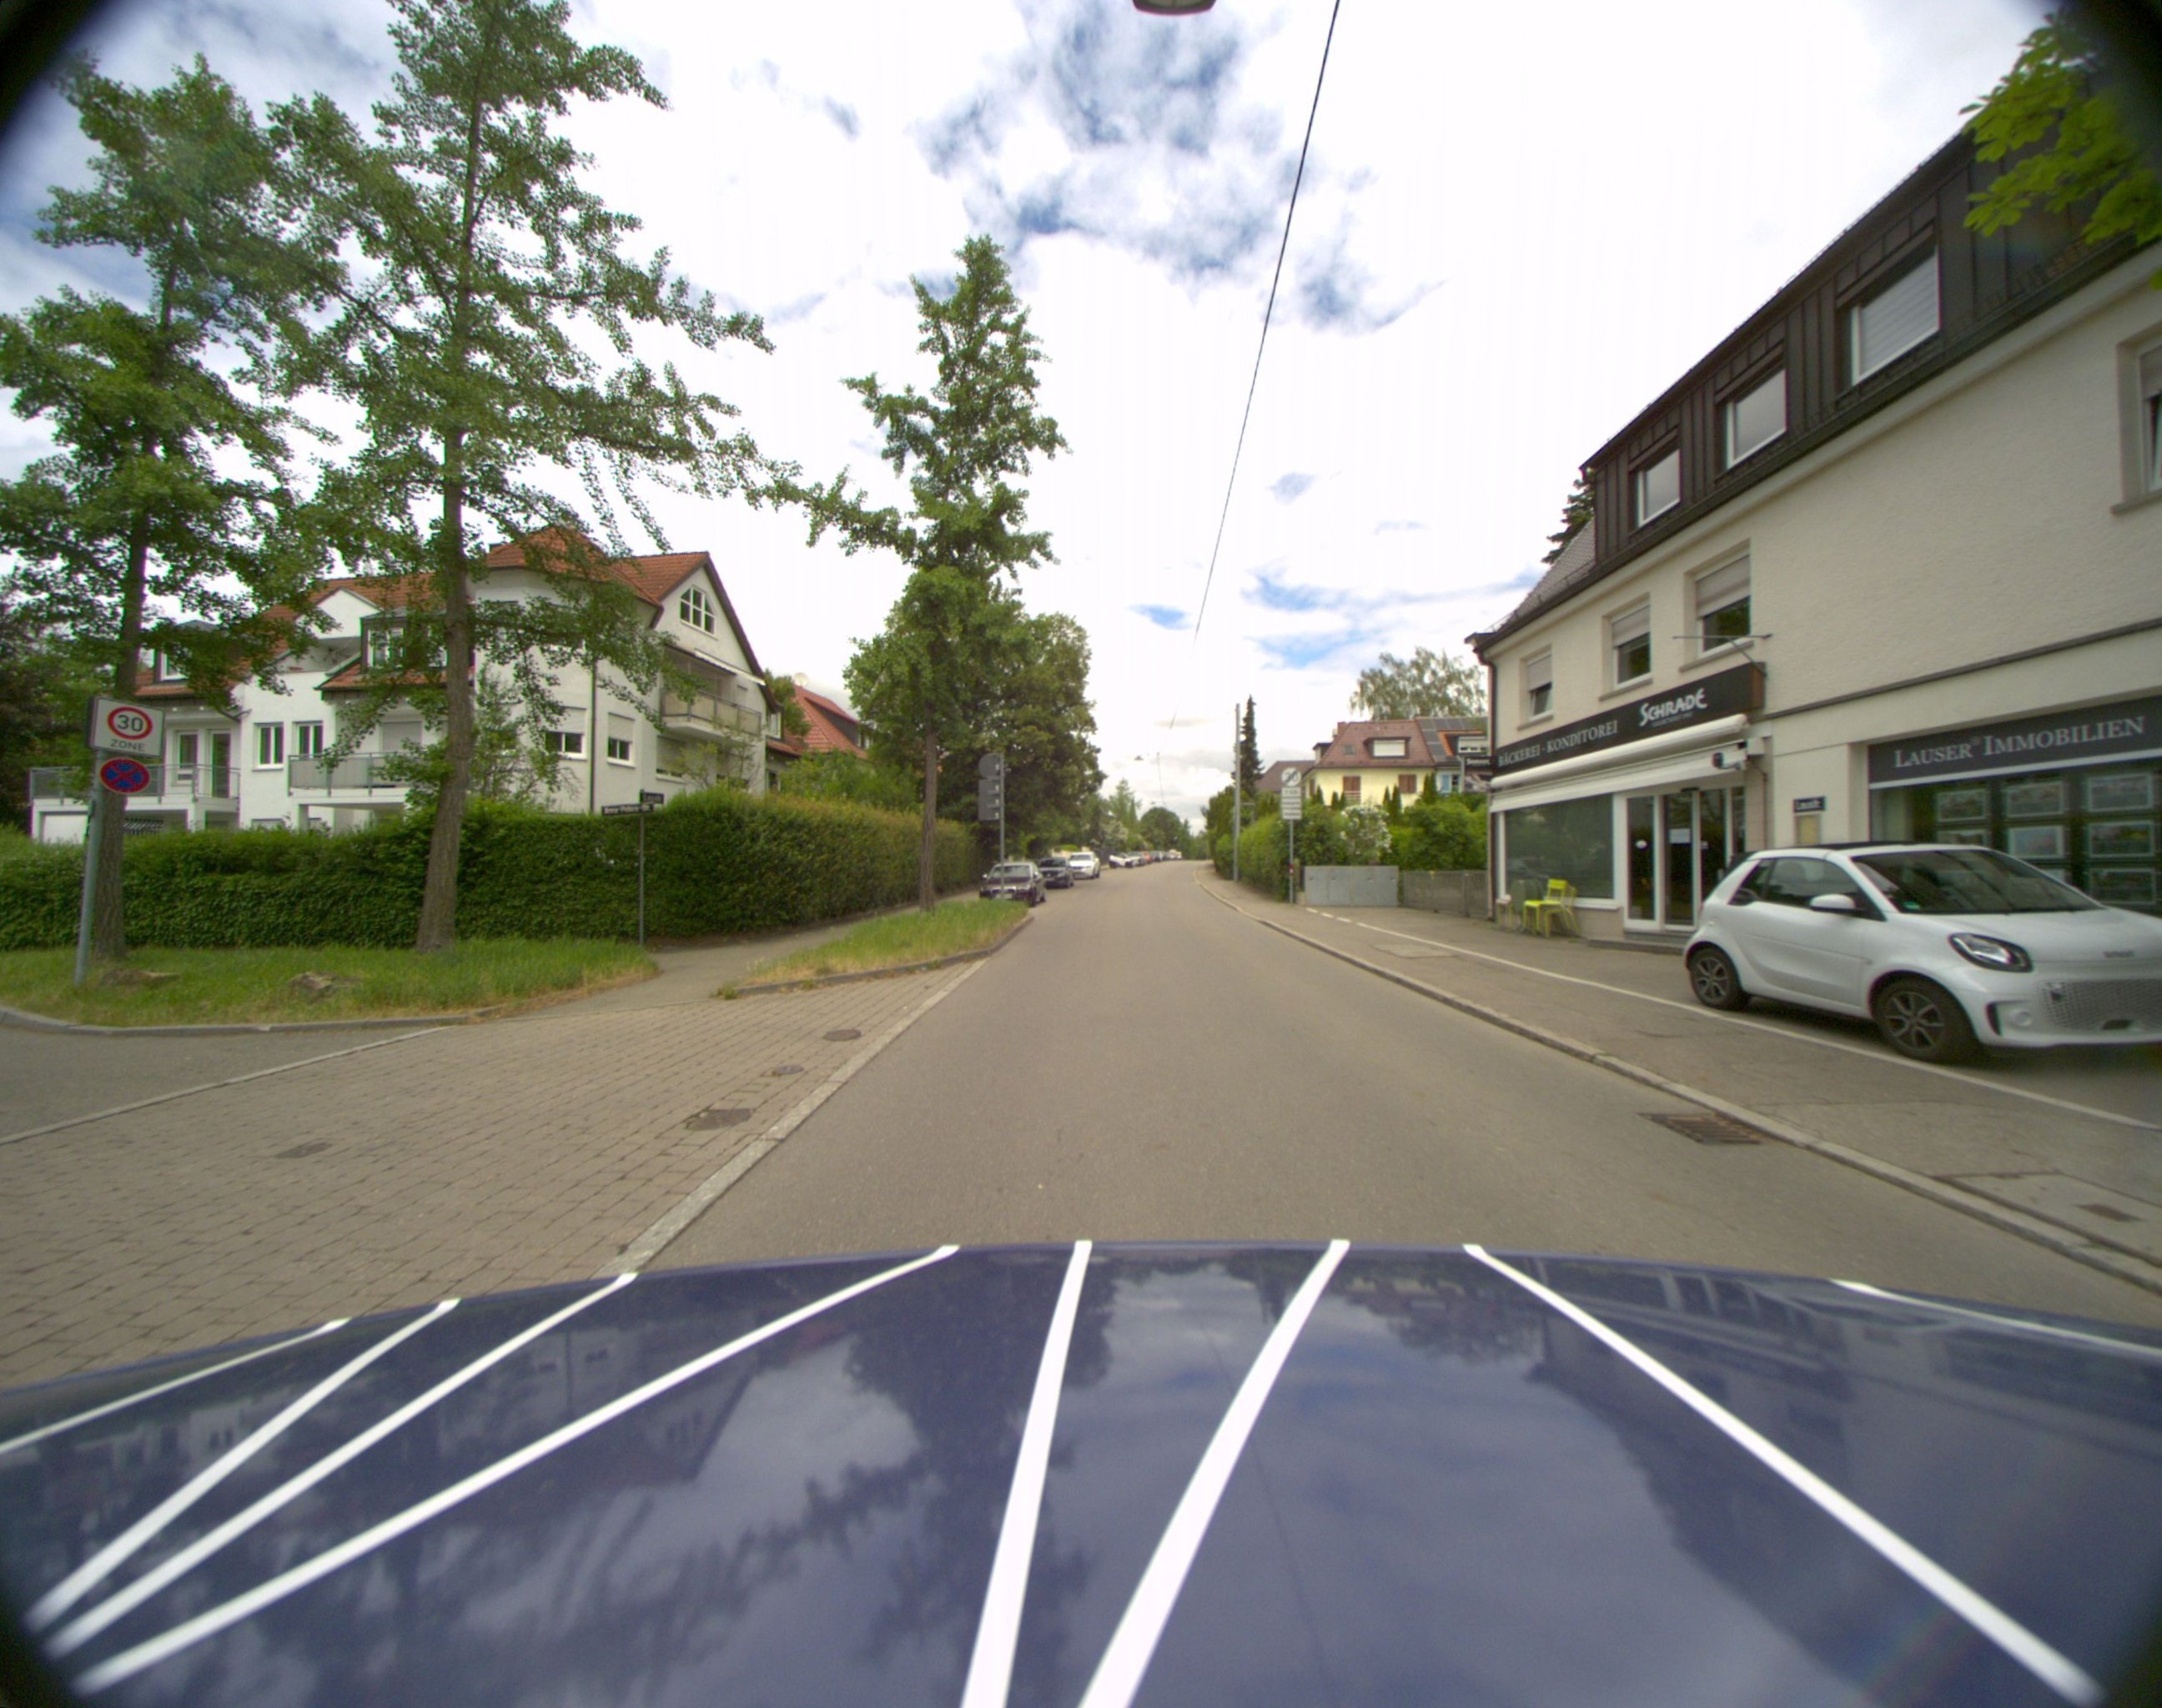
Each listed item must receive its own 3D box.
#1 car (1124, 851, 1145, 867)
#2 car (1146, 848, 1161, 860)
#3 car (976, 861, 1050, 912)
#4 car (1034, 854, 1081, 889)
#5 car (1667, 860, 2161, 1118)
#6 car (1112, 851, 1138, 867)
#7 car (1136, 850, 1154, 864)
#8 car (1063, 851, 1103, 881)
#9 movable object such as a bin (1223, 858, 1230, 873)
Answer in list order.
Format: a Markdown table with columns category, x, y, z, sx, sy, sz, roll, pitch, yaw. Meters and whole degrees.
| category | x | y | z | sx | sy | sz | roll | pitch | yaw |
| --- | --- | --- | --- | --- | --- | --- | --- | --- | --- |
| car | 5.751 | 0.498 | 81.174 | 1.832 | 1.614 | 4.495 | -1 | 1 | 10 |
| car | 10.192 | -0.028 | 106.547 | 1.954 | 1.617 | 4.378 | -2 | 1 | 8 |
| car | -2.111 | 0.985 | 24.557 | 1.713 | 1.404 | 3.791 | -2 | 0 | 4 |
| car | -1.047 | 0.778 | 35.504 | 1.713 | 1.479 | 3.791 | -1 | 1 | 5 |
| car | 6.650 | 0.856 | 6.168 | 1.592 | 1.529 | 2.924 | -3 | 0 | 4 |
| car | 4.191 | 0.510 | 72.761 | 2.290 | 1.515 | 1.319 | 0 | 0 | 15 |
| car | 7.918 | 0.323 | 93.376 | 1.853 | 1.617 | 4.172 | -2 | 1 | 9 |
| car | 0.176 | 0.697 | 46.450 | 1.869 | 1.675 | 4.352 | -1 | 1 | 8 |
| movable object such as a bin | 8.736 | 0.702 | 45.618 | 0.337 | 0.888 | 0.476 | -1 | 1 | 10 |
